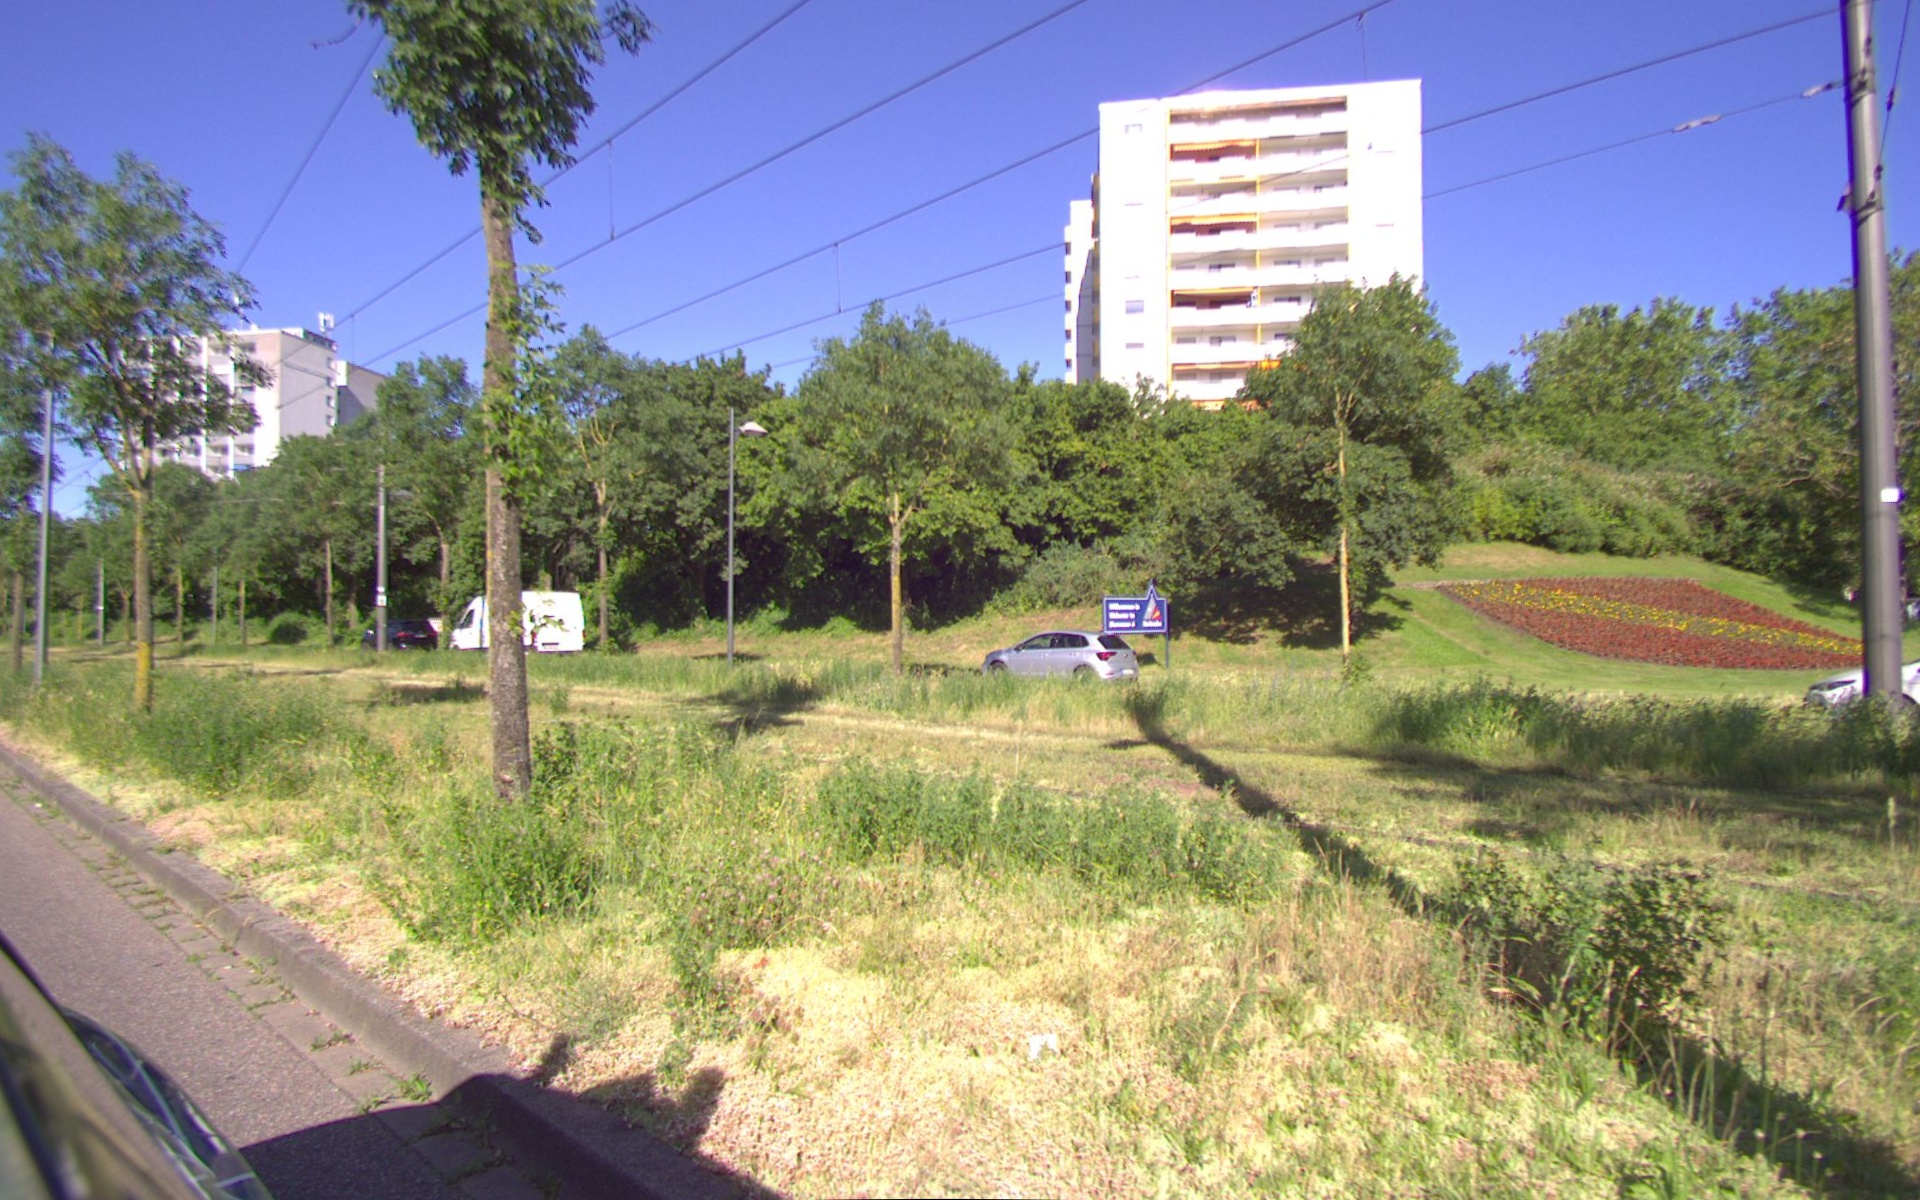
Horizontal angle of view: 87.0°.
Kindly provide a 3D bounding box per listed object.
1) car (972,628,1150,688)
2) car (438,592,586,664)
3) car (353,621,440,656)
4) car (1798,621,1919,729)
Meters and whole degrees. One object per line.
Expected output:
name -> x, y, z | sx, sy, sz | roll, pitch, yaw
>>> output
car -> 2.388, 1.355, 24.535 | 3.997, 1.302, 1.779 | -1, -1, 40
car -> -16.121, 0.980, 36.165 | 6.874, 2.387, 2.019 | -1, -1, 40
car -> -27.174, 1.827, 48.724 | 5.270, 1.596, 1.973 | -1, -1, 41
car -> 14.147, 0.989, 13.421 | 4.544, 1.408, 1.878 | -2, -1, 44
